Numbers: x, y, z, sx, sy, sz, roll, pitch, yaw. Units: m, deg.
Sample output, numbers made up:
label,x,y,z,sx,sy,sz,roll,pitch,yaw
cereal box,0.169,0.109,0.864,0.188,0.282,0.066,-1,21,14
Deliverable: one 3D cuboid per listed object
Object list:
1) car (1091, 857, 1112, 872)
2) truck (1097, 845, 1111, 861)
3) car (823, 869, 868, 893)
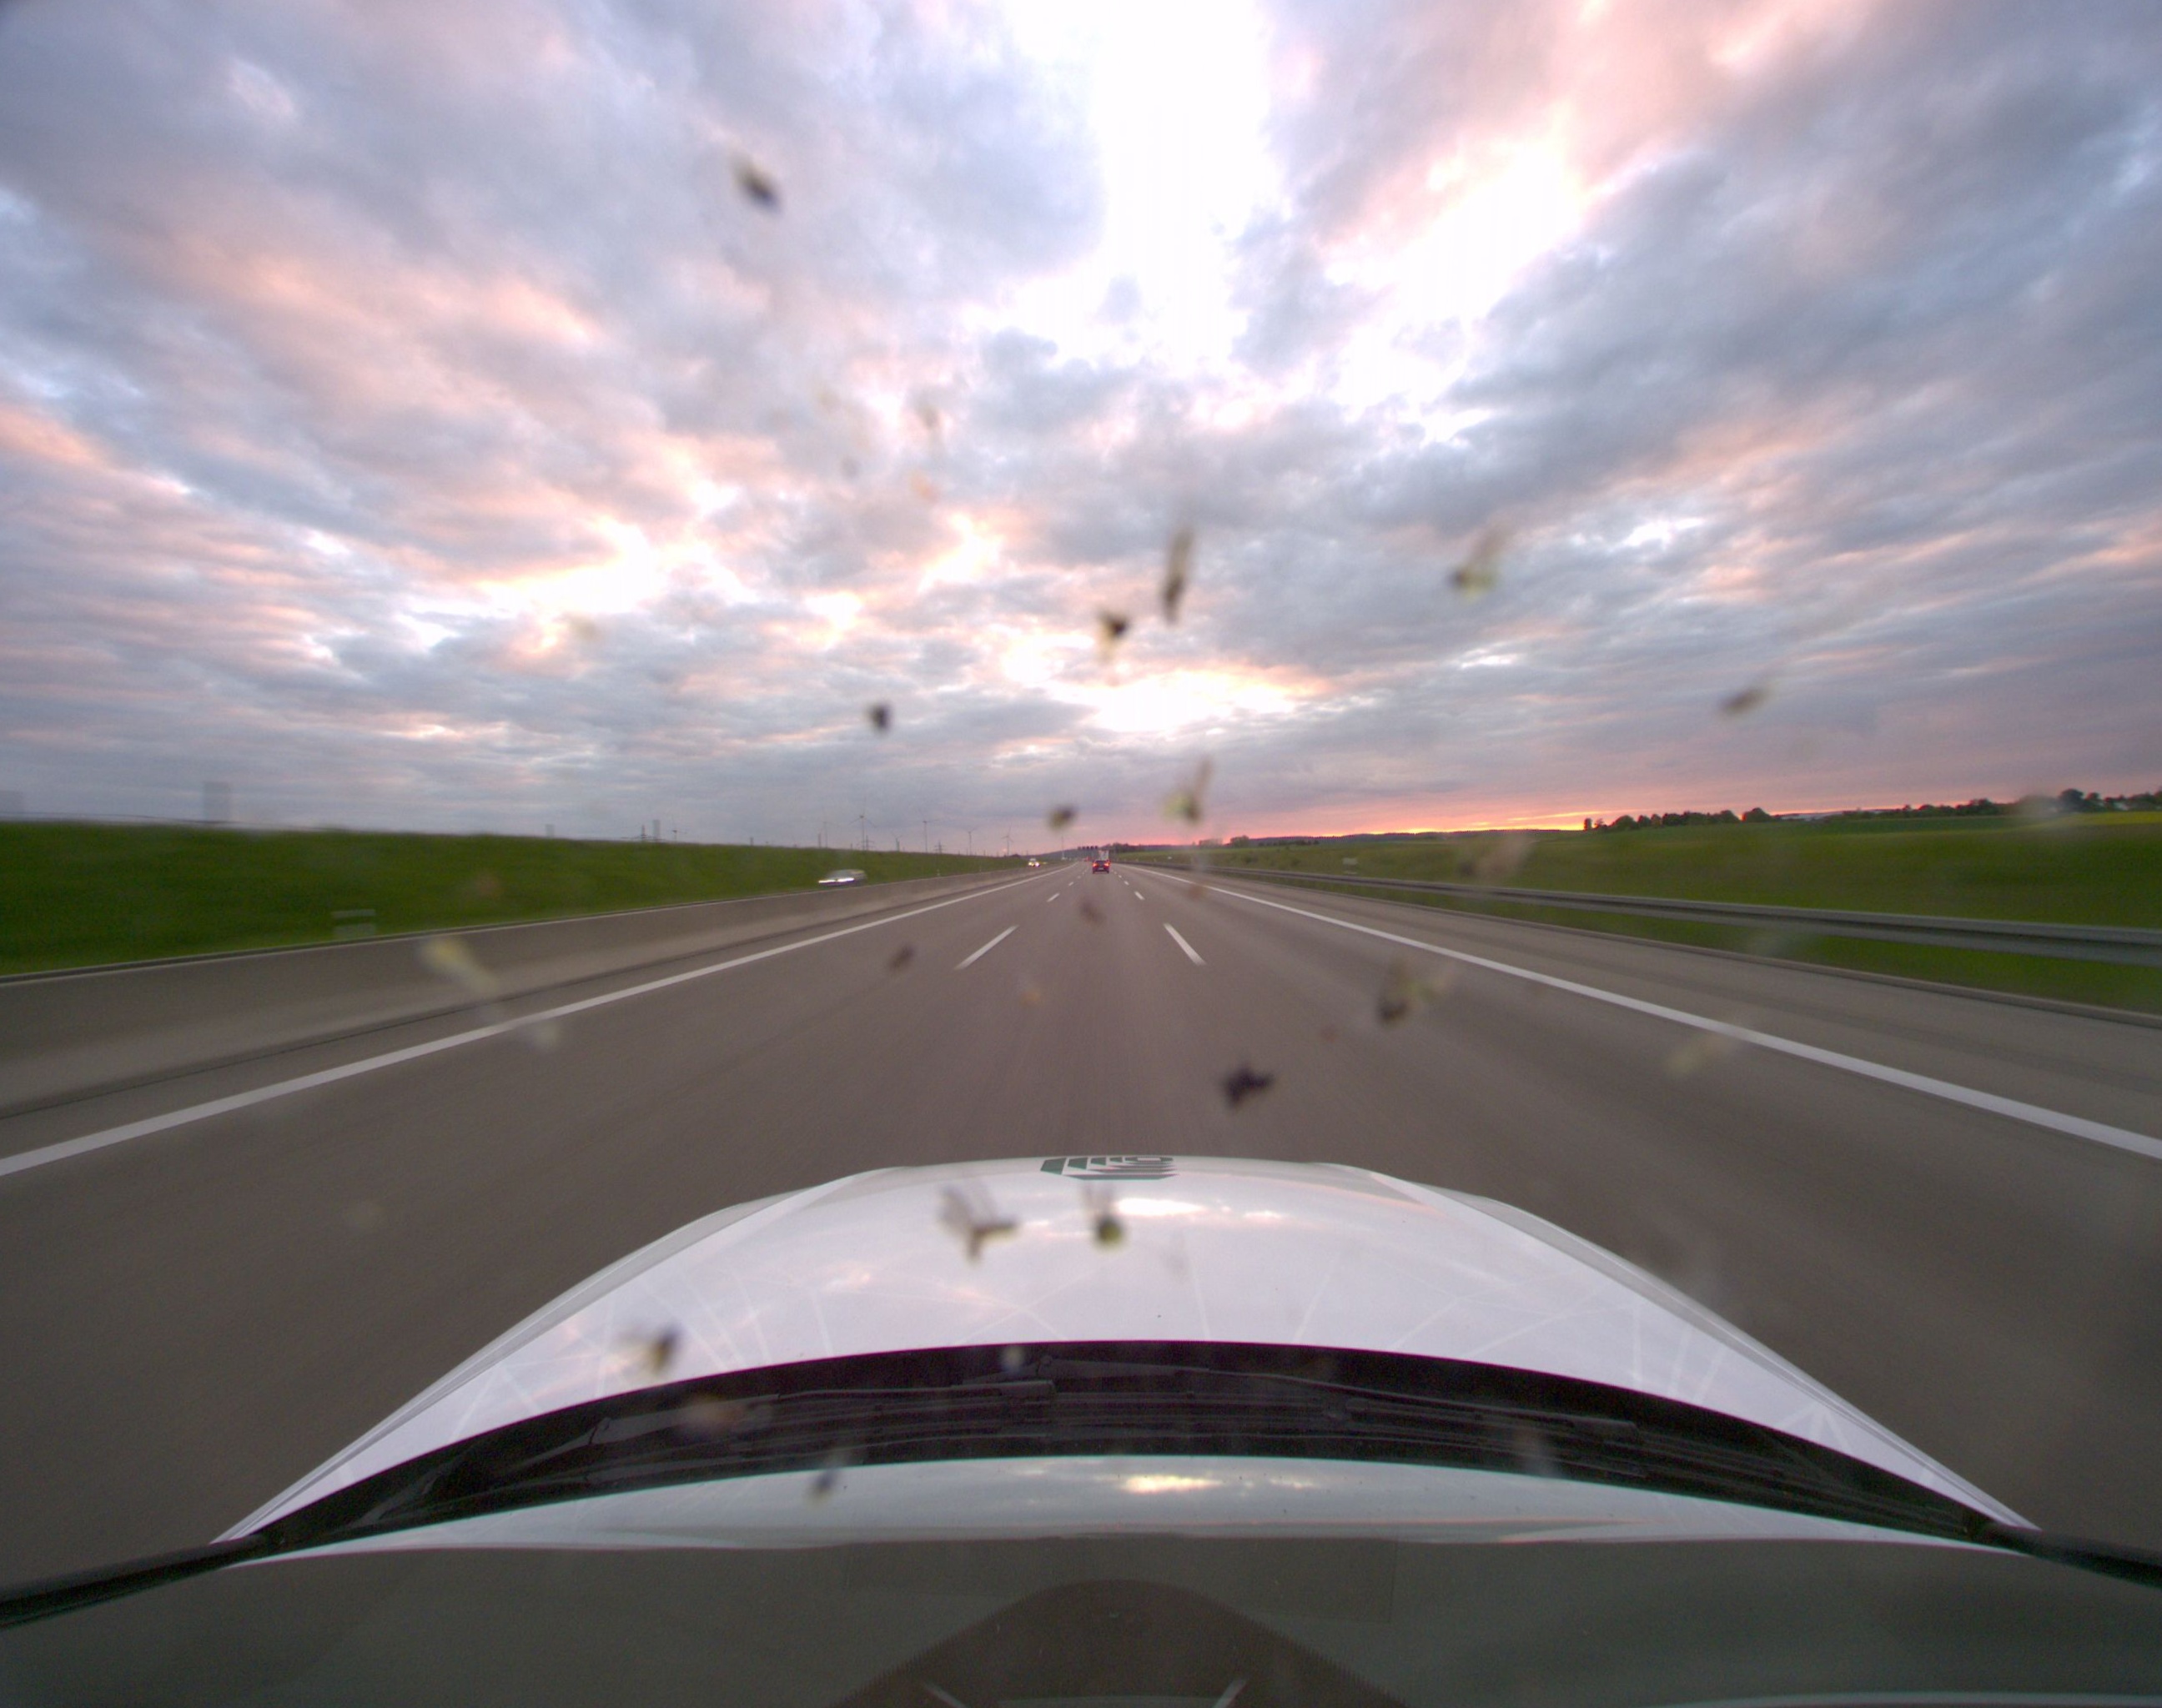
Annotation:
label,x,y,z,sx,sy,sz,roll,pitch,yaw
car,2.174,1.136,85.590,1.980,1.429,4.003,-3,0,2
truck,6.936,-0.151,244.954,3.664,4.565,10.978,-3,0,0
car,-17.311,1.946,60.050,1.855,1.553,4.582,-3,0,1
